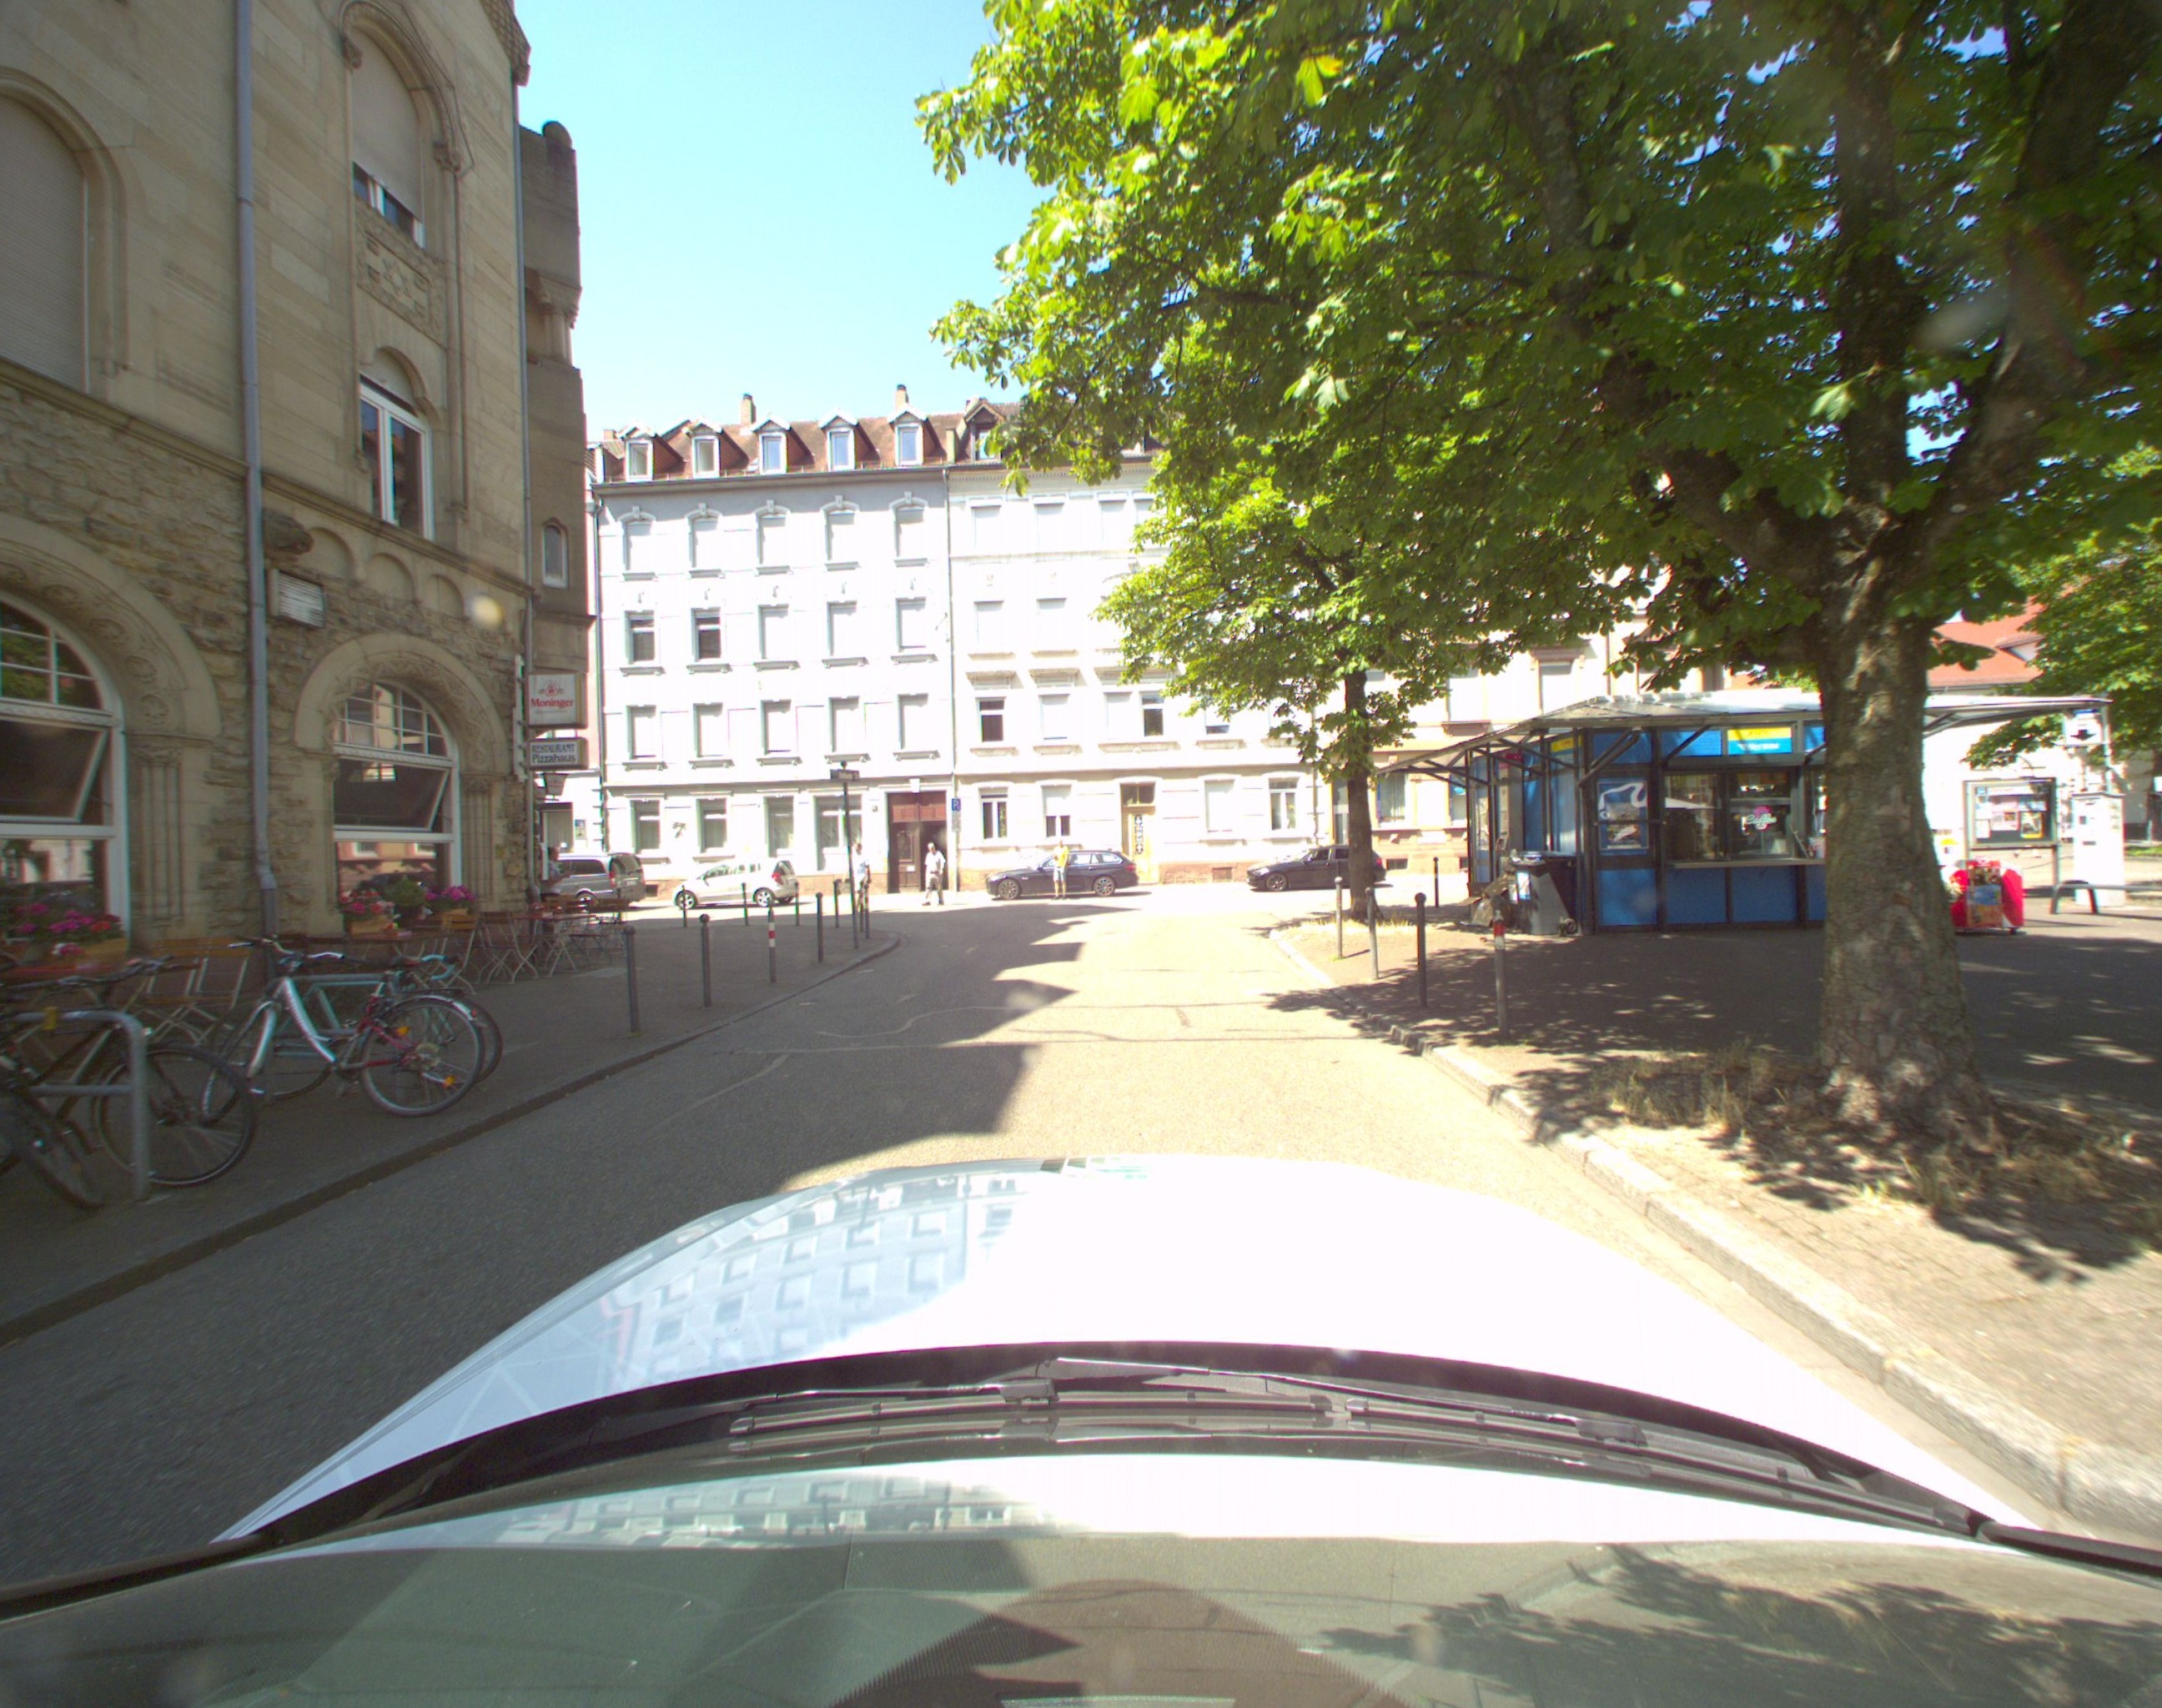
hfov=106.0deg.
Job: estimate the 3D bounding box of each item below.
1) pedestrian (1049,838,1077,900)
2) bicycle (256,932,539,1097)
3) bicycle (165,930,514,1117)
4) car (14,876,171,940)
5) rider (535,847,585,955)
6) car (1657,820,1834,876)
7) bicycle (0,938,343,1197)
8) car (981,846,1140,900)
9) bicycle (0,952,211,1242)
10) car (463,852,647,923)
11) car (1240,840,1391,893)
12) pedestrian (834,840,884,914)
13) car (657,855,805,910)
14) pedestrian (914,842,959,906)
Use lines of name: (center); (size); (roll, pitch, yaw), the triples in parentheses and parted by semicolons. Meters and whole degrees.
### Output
pedestrian: (-0.553, 0.451, 24.855); (0.724, 1.853, 0.683); (-2, 0, -6)
bicycle: (-4.473, 1.039, 5.369); (1.520, 1.008, 0.367); (0, 0, -1)
bicycle: (-4.445, 1.004, 4.939); (1.699, 1.045, 0.414); (0, 0, -1)
car: (-33.238, 1.793, 27.436); (3.337, 1.885, 1.549); (-3, 1, 1)
rider: (-8.582, 0.756, 13.404); (0.544, 1.697, 0.634); (-2, 0, -42)
car: (20.610, -0.164, 25.385); (3.971, 1.506, 1.780); (-3, 0, 2)
bicycle: (-4.796, 1.007, 3.954); (1.989, 1.129, 0.436); (-1, 0, -1)
car: (-0.585, 0.595, 25.971); (4.839, 1.437, 2.002); (-3, 0, 3)
bicycle: (-4.996, 1.011, 3.527); (1.966, 1.129, 0.395); (1, 0, -1)
car: (-17.106, 1.055, 26.634); (4.687, 1.997, 1.878); (-3, 1, 2)
car: (7.310, 0.359, 25.734); (4.276, 1.370, 1.809); (-3, 2, 3)
pedestrian: (-5.888, 0.598, 21.625); (0.843, 1.889, 0.939); (-3, 0, 16)
car: (-11.445, 0.916, 26.816); (4.031, 1.562, 1.808); (-3, 0, 2)
pedestrian: (-4.229, 0.574, 23.822); (0.894, 1.814, 0.964); (-3, 0, 14)
